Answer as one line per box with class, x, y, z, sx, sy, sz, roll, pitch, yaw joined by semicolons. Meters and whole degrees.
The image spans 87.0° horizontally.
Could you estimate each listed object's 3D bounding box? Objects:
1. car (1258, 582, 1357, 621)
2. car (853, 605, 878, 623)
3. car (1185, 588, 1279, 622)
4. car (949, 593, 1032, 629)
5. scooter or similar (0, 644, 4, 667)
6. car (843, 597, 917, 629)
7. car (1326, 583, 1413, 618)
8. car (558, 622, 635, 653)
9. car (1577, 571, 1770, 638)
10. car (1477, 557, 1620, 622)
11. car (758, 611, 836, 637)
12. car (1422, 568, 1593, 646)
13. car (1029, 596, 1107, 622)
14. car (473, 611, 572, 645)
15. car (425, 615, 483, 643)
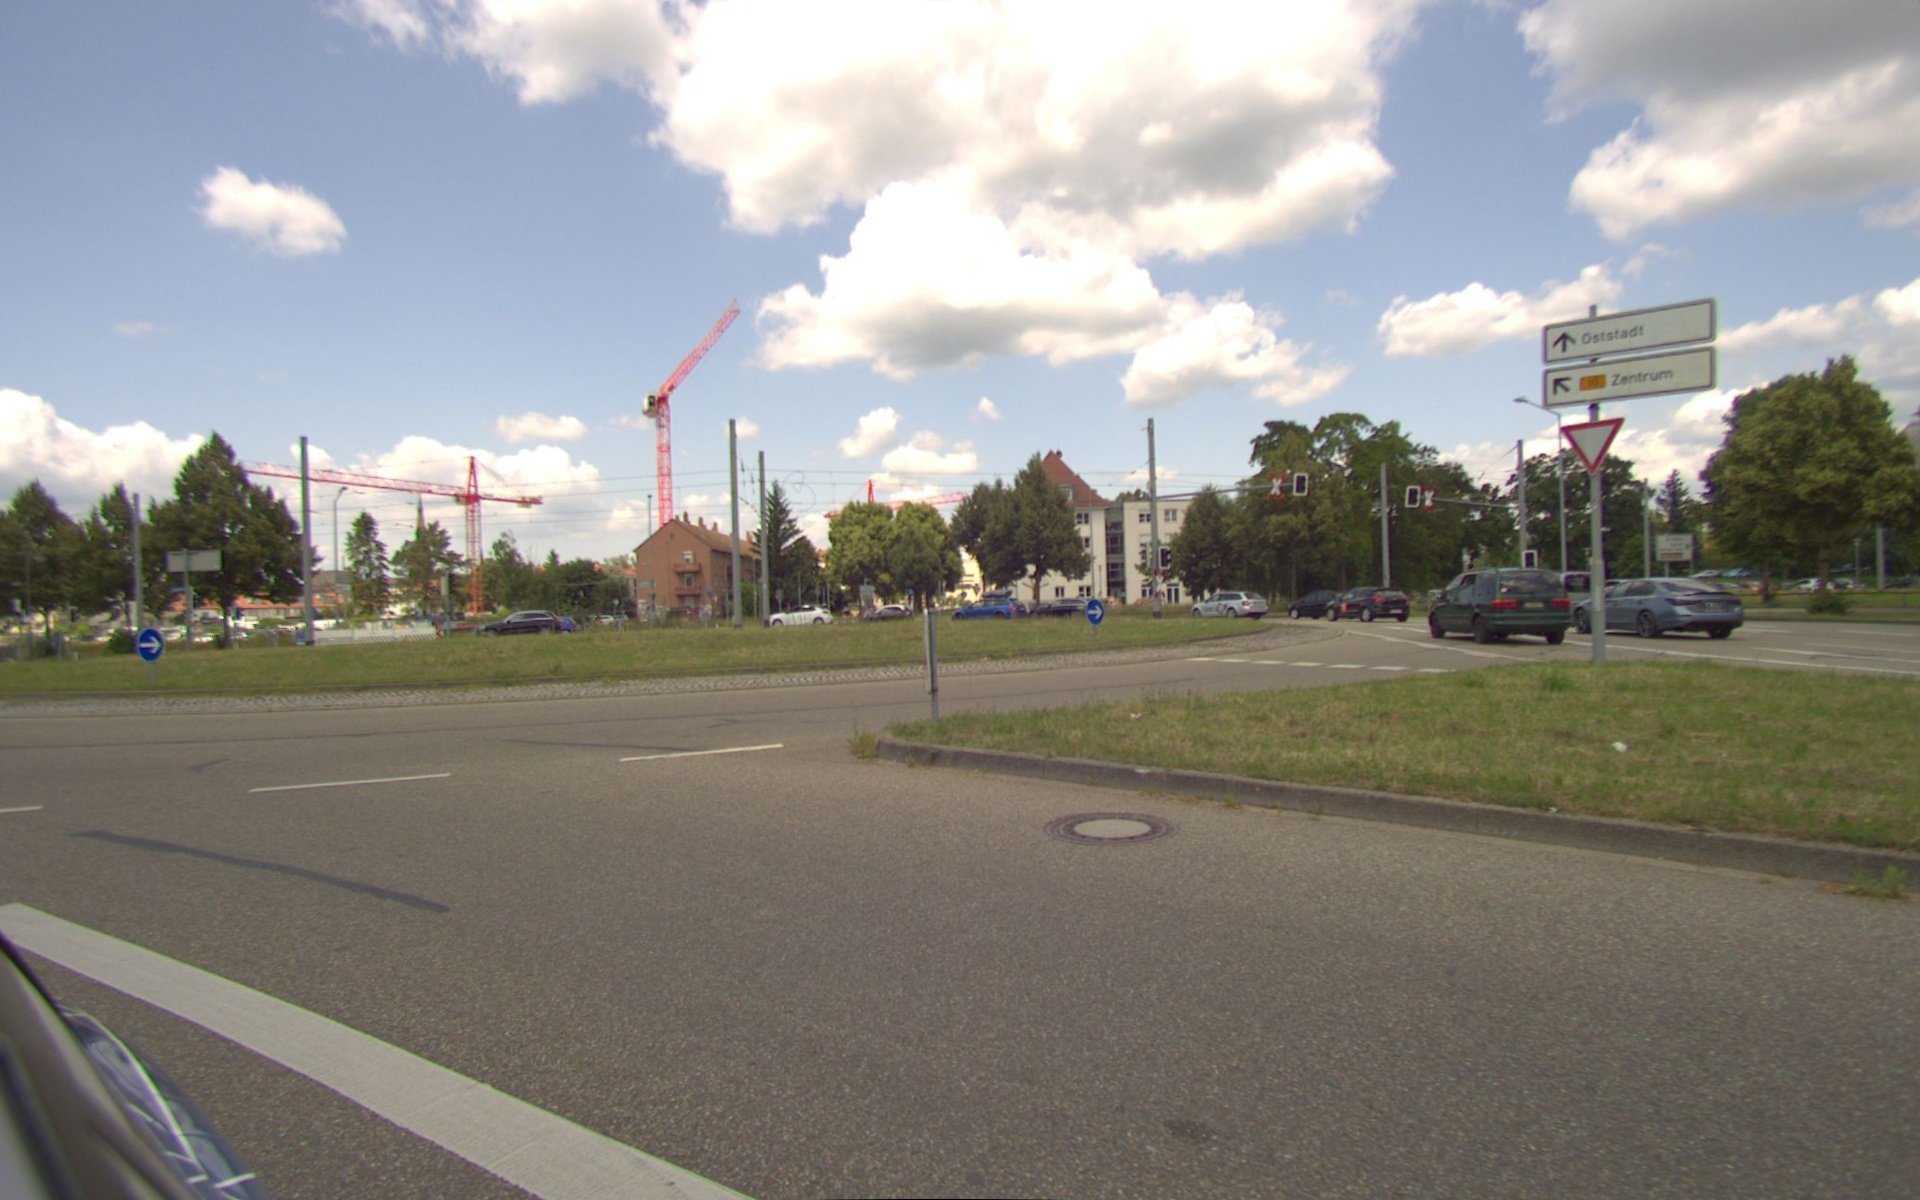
car;18.154;0.093;53.116;2.089;1.834;4.677;-2;-1;-27
car;-9.582;1.394;103.223;2.037;1.638;4.944;-4;1;-1
car;13.808;0.287;51.720;2.087;1.533;4.522;-2;-1;-27
car;1.718;0.644;57.799;4.391;1.812;1.738;-3;-1;31
scooter or similar;-57.099;3.309;59.998;1.345;1.312;0.413;0;1;40
car;-5.498;0.892;69.871;4.679;2.029;1.992;-3;-1;13
car;17.080;0.070;42.427;1.776;1.350;3.982;-1;-1;-4
car;-23.918;2.448;66.734;4.645;1.804;1.854;-3;-1;-17
car;17.317;0.110;24.851;1.887;1.434;4.186;-2;0;4
car;20.209;-0.329;35.056;1.971;2.029;4.789;-2;0;-2
car;-9.869;1.449;61.436;4.260;1.339;1.996;-3;0;7
car;12.686;0.139;23.827;1.891;1.604;4.583;-2;0;7
car;6.463;0.537;60.871;1.925;1.333;4.494;-2;-1;-44
car;-25.044;1.593;57.959;4.984;1.687;2.006;-2;-1;-29
car;-44.866;2.562;89.622;6.838;2.214;2.361;-3;-1;43
